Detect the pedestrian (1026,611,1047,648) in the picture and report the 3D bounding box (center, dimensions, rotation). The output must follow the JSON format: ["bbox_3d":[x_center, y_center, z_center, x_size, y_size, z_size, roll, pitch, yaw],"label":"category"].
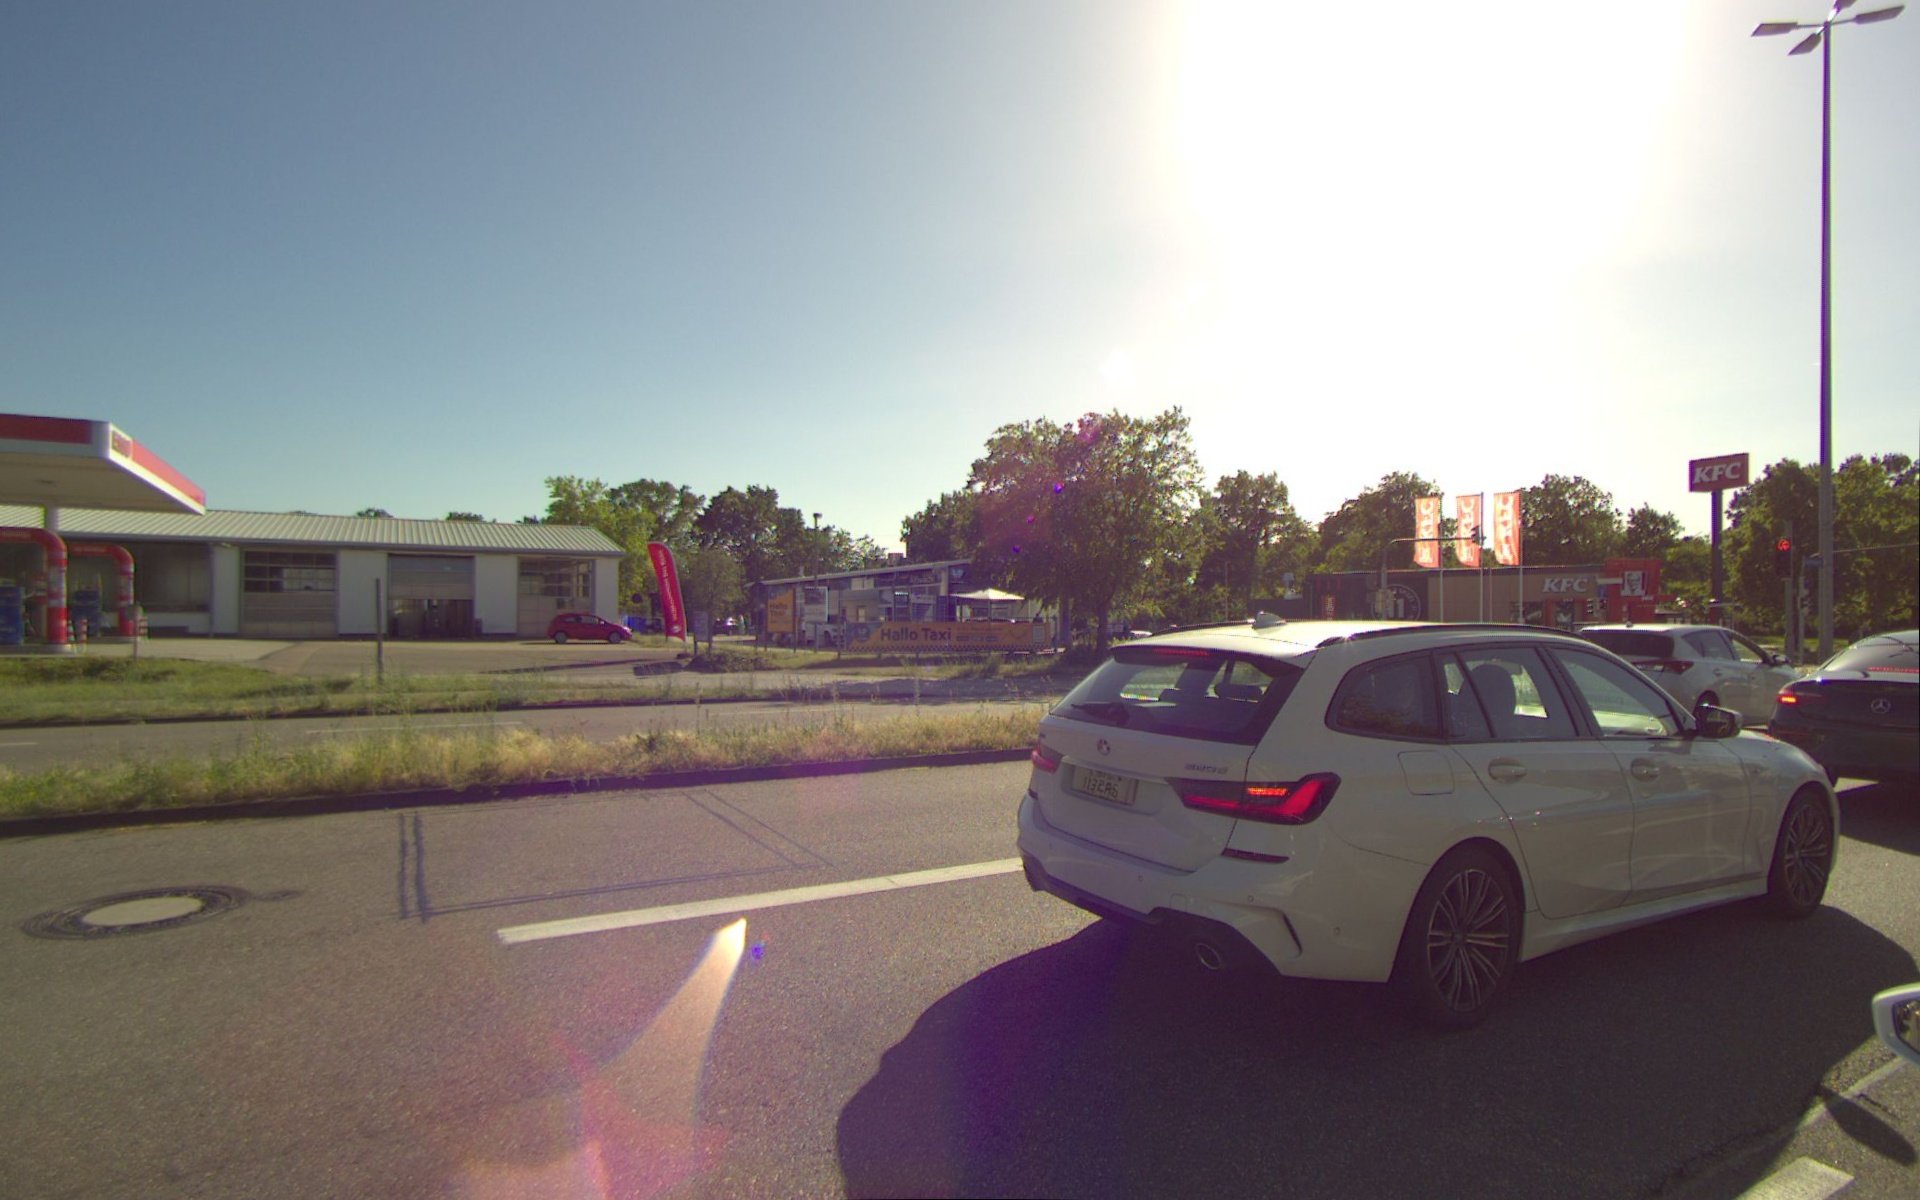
[{"bbox_3d":[3.841,1.476,50.535,0.804,1.828,0.951,1,0,-13],"label":"pedestrian"}]

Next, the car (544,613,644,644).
[{"bbox_3d":[-18.037,1.414,49.541,4.486,1.458,1.741,1,-1,-26],"label":"car"}]

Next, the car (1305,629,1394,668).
[{"bbox_3d":[19.721,2.402,50.990,1.972,1.817,4.064,1,-1,-23],"label":"car"}]

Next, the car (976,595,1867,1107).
[{"bbox_3d":[2.407,0.794,4.894,4.409,1.529,1.760,1,-1,-30],"label":"car"}]

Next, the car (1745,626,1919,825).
[{"bbox_3d":[8.785,0.961,8.615,4.409,1.433,1.760,1,-1,-30],"label":"car"}]

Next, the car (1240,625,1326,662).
[{"bbox_3d":[16.097,2.141,50.262,1.738,1.751,3.969,1,-1,-29],"label":"car"}]

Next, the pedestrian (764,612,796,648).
[{"bbox_3d":[-9.127,1.491,50.872,1.140,1.787,1.096,0,-1,36],"label":"pedestrian"}]

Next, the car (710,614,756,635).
[{"bbox_3d":[-19.949,2.128,88.247,2.085,1.840,4.000,0,-1,20],"label":"car"}]

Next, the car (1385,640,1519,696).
[{"bbox_3d":[13.946,1.872,28.409,4.014,1.448,1.805,2,-3,-38],"label":"car"}]

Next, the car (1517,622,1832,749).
[{"bbox_3d":[9.639,1.040,13.478,4.352,1.448,1.848,1,-1,-30],"label":"car"}]

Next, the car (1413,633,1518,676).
[{"bbox_3d":[19.353,2.036,38.704,1.826,1.449,4.737,0,-1,3],"label":"car"}]
